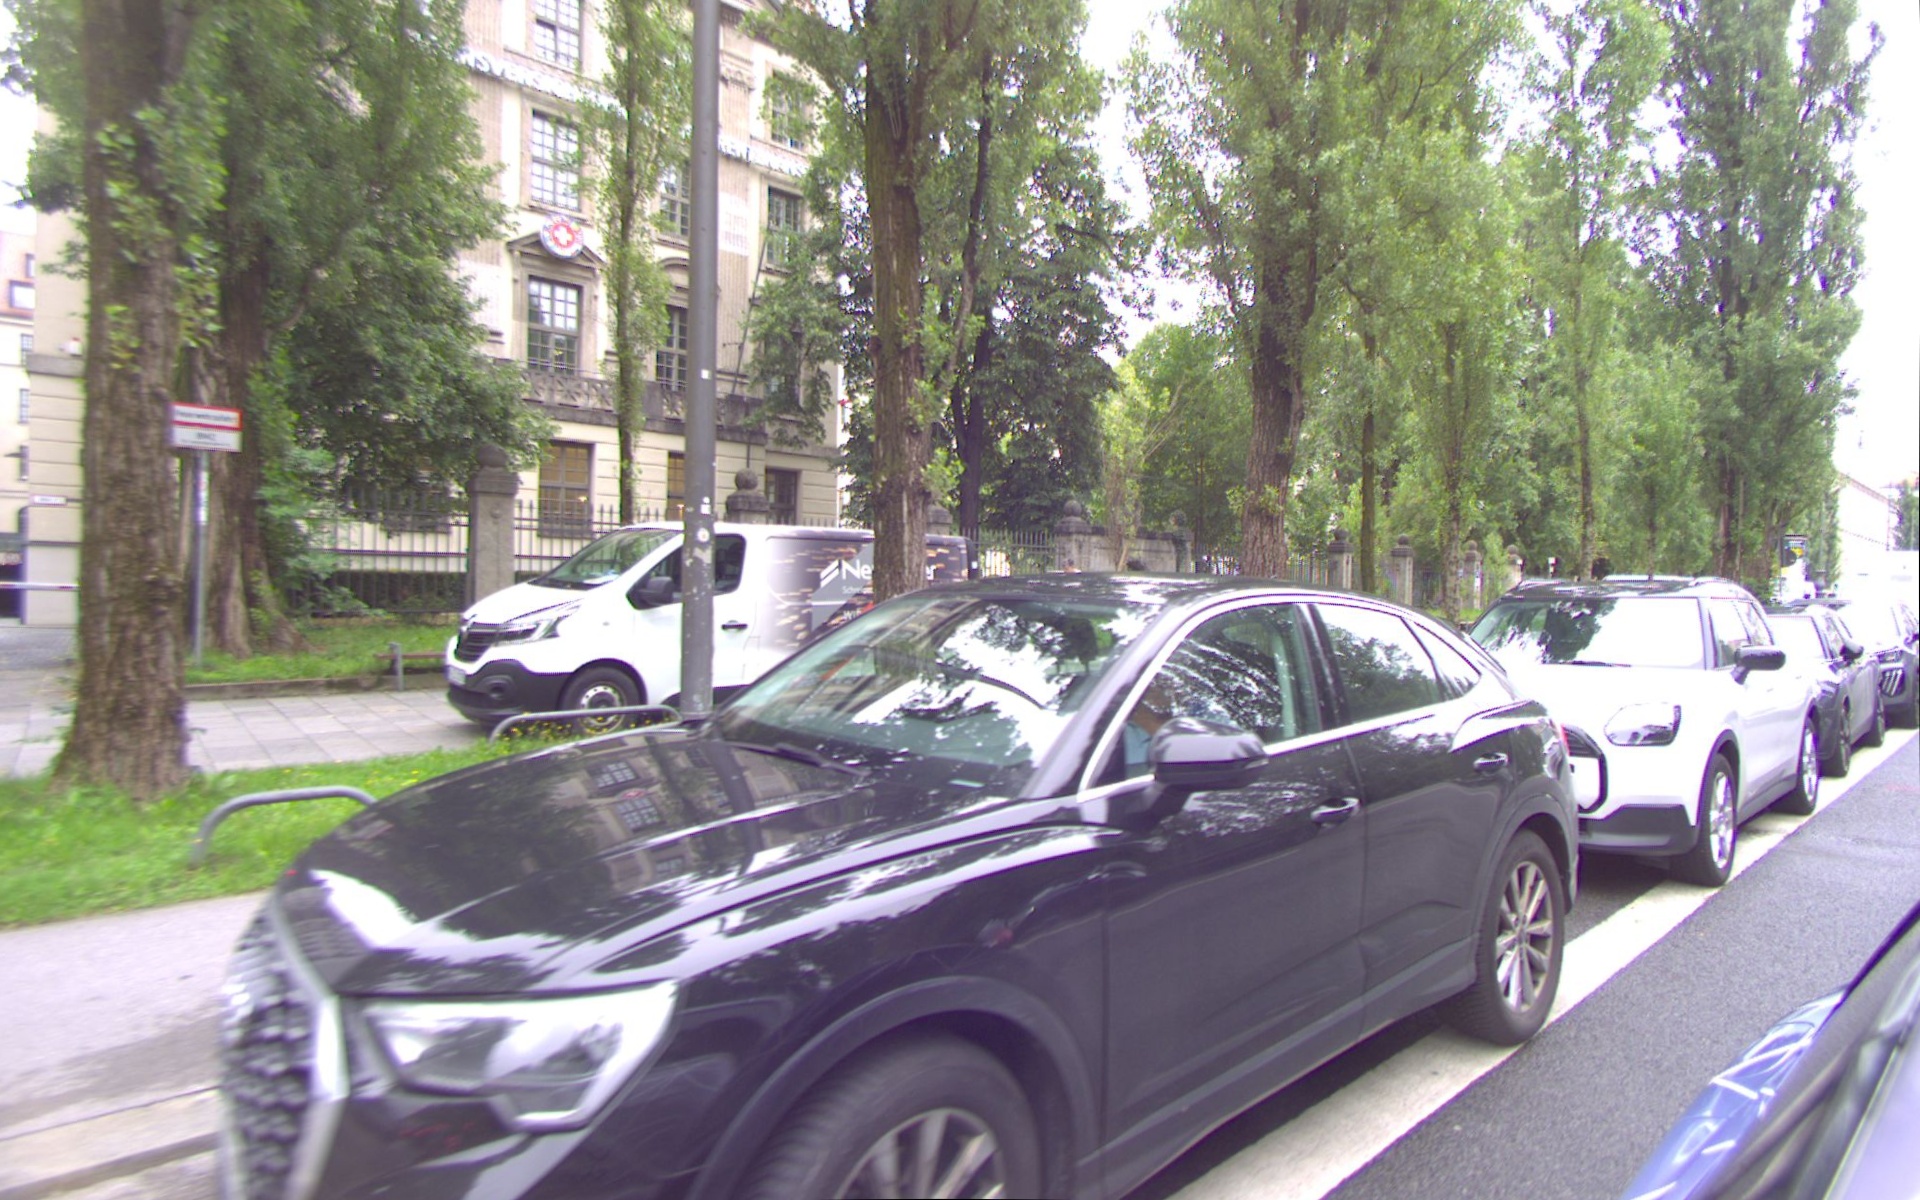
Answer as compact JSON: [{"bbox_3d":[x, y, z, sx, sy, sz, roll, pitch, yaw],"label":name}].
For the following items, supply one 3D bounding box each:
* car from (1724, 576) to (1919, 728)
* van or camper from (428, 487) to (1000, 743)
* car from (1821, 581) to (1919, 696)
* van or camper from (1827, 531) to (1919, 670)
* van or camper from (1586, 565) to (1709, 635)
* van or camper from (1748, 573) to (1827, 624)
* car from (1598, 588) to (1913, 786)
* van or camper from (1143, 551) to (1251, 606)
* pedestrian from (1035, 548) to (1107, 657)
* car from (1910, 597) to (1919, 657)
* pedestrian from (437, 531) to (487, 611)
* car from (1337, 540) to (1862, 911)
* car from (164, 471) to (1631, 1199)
[{"bbox_3d":[11.670,0.568,13.233,4.557,1.638,1.787,0,1,-41],"label":"car"},{"bbox_3d":[-2.227,0.109,10.250,5.274,1.958,2.080,0,0,-41],"label":"van or camper"},{"bbox_3d":[15.596,0.579,16.568,4.343,1.669,1.787,0,1,-43],"label":"car"},{"bbox_3d":[20.004,-0.001,20.993,6.305,2.572,2.143,0,1,-41],"label":"van or camper"},{"bbox_3d":[21.102,-0.012,30.984,4.951,1.958,1.978,0,0,-42],"label":"van or camper"},{"bbox_3d":[35.599,-0.066,43.491,4.902,2.039,2.006,0,0,-43],"label":"van or camper"},{"bbox_3d":[8.036,0.692,10.077,4.220,1.538,1.706,0,1,-41],"label":"car"},{"bbox_3d":[12.408,-1.165,53.208,2.210,2.740,5.220,0,2,-40],"label":"van or camper"},{"bbox_3d":[1.883,0.032,17.166,0.879,1.790,0.797,0,1,-38],"label":"pedestrian"},{"bbox_3d":[25.244,0.677,25.449,3.932,1.438,1.678,0,2,-43],"label":"car"},{"bbox_3d":[-11.417,-0.662,23.207,0.878,1.790,0.797,1,1,-38],"label":"pedestrian"},{"bbox_3d":[4.490,0.555,6.770,4.500,1.696,1.746,0,1,-41],"label":"car"},{"bbox_3d":[0.312,0.625,3.206,4.385,1.560,1.884,0,1,-41],"label":"car"}]
